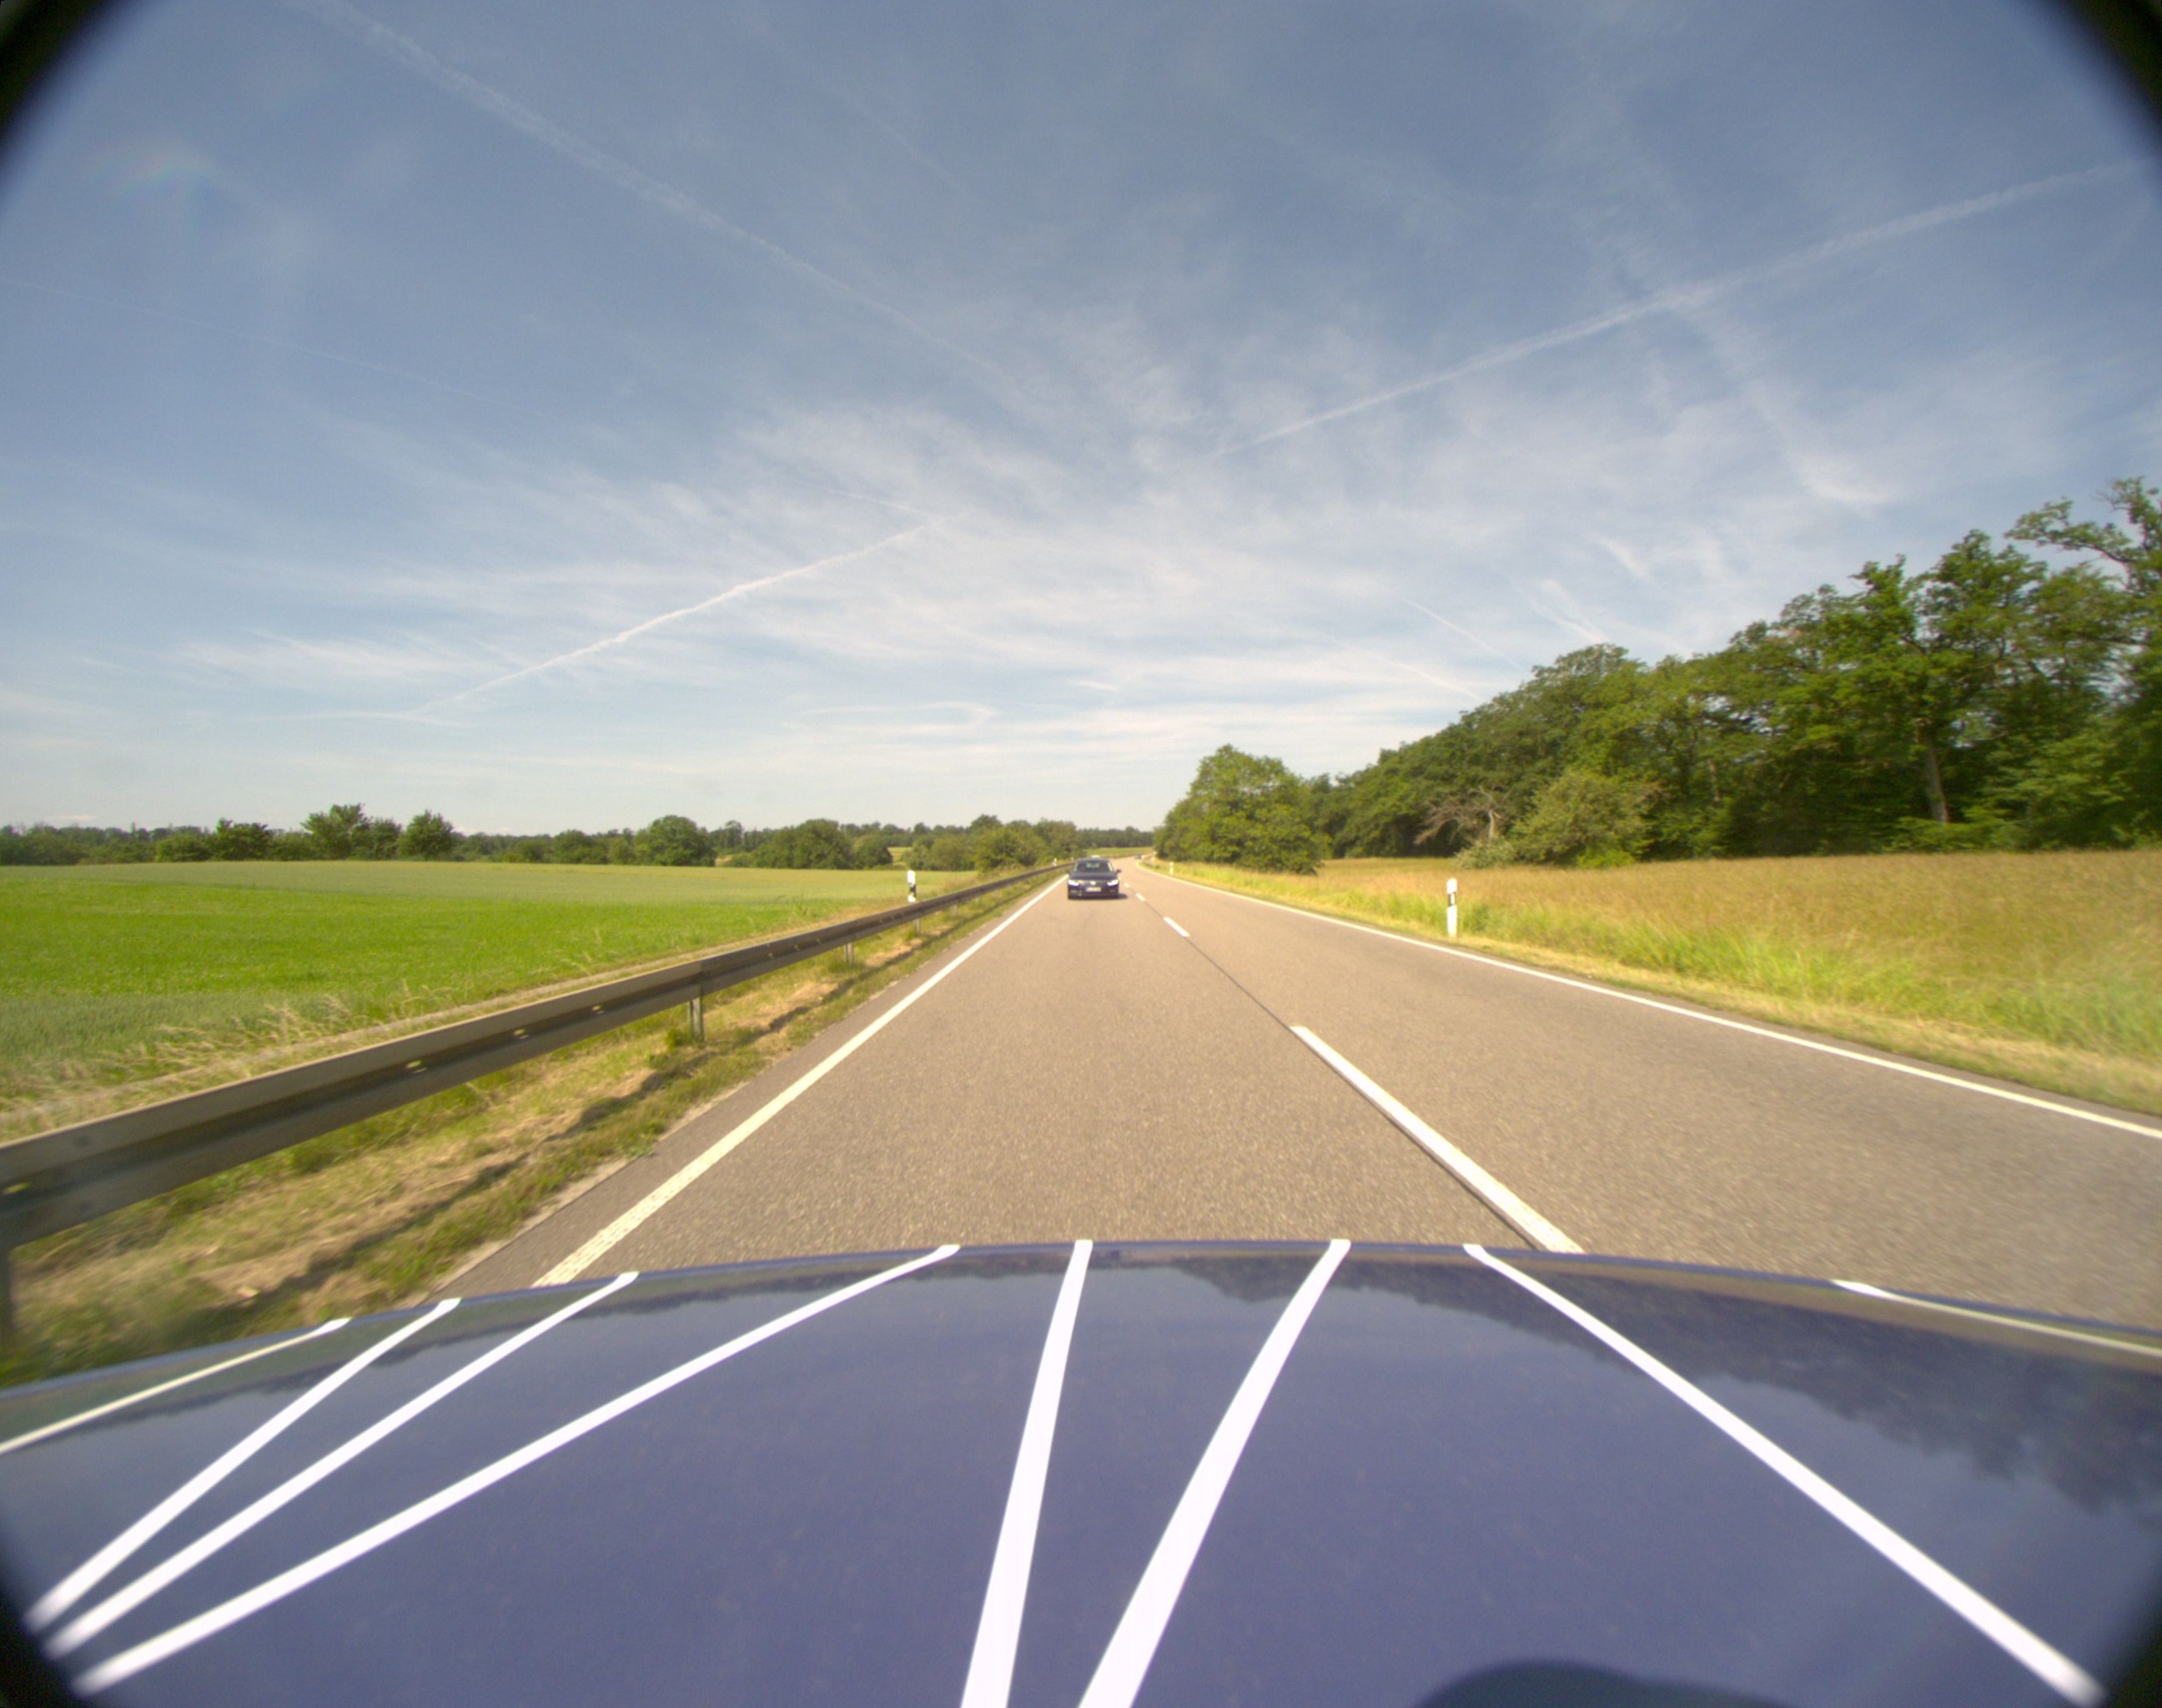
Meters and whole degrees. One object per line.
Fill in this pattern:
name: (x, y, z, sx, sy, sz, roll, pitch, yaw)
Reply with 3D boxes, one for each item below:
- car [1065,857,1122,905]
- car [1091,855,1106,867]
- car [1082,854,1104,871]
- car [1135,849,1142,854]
car: (0.458, 0.881, 26.550, 1.821, 1.501, 4.501, 0, 0, 2)
car: (2.338, 0.963, 104.969, 1.928, 1.501, 4.291, -1, 0, 0)
car: (1.119, 0.799, 69.468, 1.928, 1.501, 4.292, -1, 0, 2)
car: (17.148, -0.737, 225.599, 1.748, 1.506, 4.055, 0, 0, 7)
